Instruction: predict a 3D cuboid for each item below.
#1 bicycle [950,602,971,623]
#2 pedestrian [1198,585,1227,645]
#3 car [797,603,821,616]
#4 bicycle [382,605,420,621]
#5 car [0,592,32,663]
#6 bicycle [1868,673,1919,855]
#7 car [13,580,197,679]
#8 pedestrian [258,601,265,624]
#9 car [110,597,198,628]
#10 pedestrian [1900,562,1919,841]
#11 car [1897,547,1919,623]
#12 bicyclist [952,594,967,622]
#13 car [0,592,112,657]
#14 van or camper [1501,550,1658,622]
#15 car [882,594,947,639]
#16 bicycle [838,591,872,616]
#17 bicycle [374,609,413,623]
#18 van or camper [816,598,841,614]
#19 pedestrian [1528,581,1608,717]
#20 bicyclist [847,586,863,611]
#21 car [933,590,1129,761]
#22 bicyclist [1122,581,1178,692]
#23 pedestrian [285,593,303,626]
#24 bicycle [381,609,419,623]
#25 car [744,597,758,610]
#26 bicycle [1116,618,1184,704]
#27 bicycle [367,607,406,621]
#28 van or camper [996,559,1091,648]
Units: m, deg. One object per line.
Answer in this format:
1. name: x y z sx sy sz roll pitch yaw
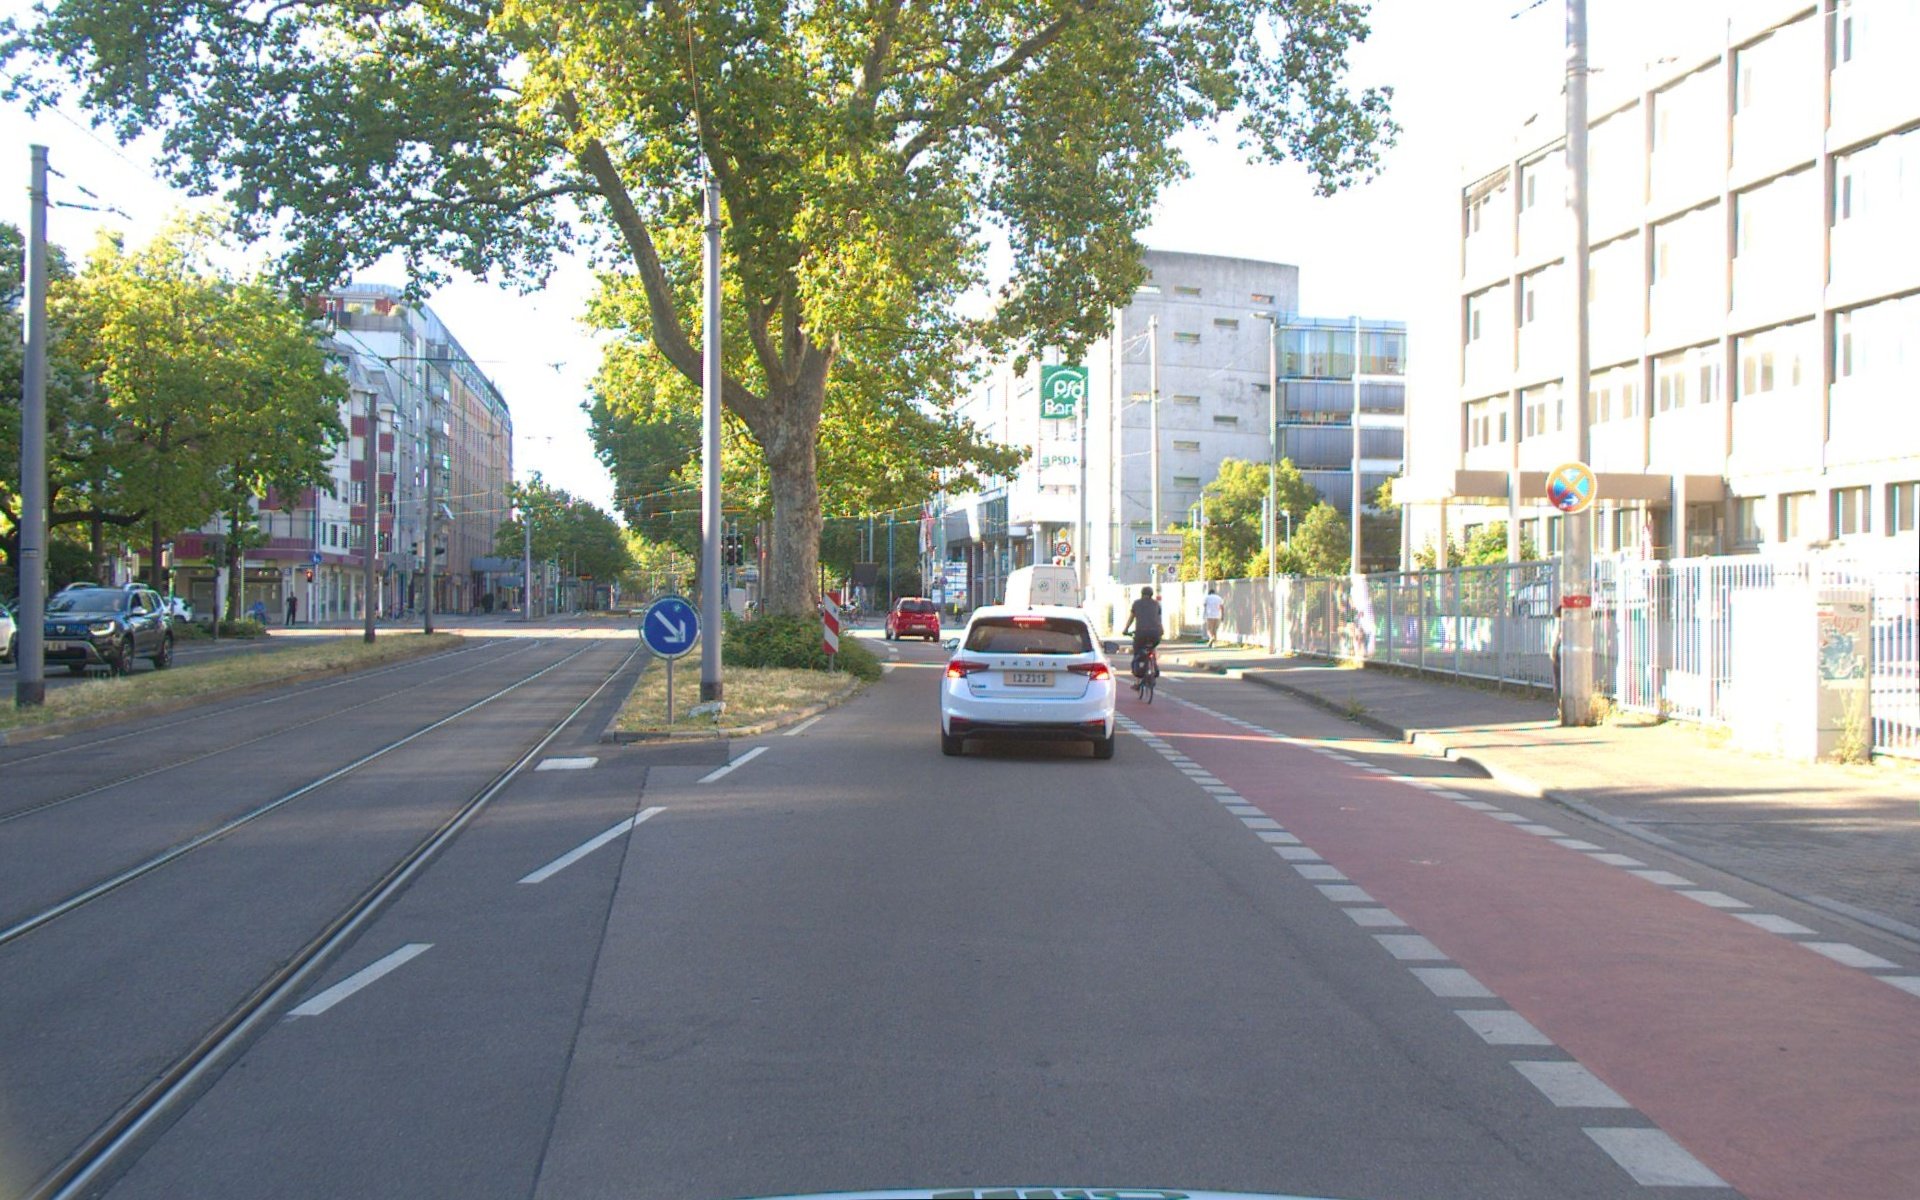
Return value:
1. bicycle: 0.015 0.720 97.084 0.778 1.182 2.493 0 0 -11
2. pedestrian: 7.597 0.442 49.719 0.770 1.779 0.772 0 0 2
3. car: -17.966 1.120 196.204 2.434 1.555 4.419 -1 0 -11
4. bicycle: -34.291 0.783 101.434 2.132 0.967 0.490 0 0 -13
5. car: -21.199 0.590 34.486 1.958 1.496 4.393 0 0 -12
6. bicycle: 6.011 0.980 9.360 0.661 1.050 1.900 -2 0 0
7. car: -15.885 0.508 30.976 1.958 1.719 4.297 0 0 -12
8. pedestrian: -37.297 0.664 88.302 0.298 1.235 0.317 -1 0 -15
9. car: -41.738 0.632 85.691 3.930 1.489 1.790 -1 0 -22
10. pedestrian: 5.994 0.591 9.355 0.656 1.647 1.102 -2 0 -1
11. car: 24.240 -0.353 38.285 4.175 1.748 1.988 0 0 -11
12. bicyclist: -0.010 0.461 97.200 0.771 1.663 0.637 0 0 -12
13. car: -22.375 0.559 40.197 1.958 1.502 4.636 0 0 -12
14. van or camper: 17.694 -0.406 47.495 1.945 1.942 4.987 0 0 -10
15. car: -1.641 0.564 58.103 1.805 1.515 3.708 0 0 -9
16. bicycle: -5.895 0.210 92.908 1.978 1.403 0.637 0 0 -43
17. bicycle: -34.049 0.968 99.423 2.132 0.801 0.490 0 0 -13
18. van or camper: -14.562 0.655 182.776 2.108 1.781 4.418 -1 0 -12
19. pedestrian: 7.811 0.615 21.274 0.681 1.713 0.930 0 0 -1
20. bicyclist: -5.899 -0.104 92.905 0.602 1.413 0.627 0 0 -41
21. car: 0.766 0.693 17.152 1.764 1.527 3.983 1 0 3
22. bicyclist: 2.972 0.561 25.943 0.728 1.698 0.744 2 0 -2
23. pedestrian: -35.117 0.488 87.194 0.696 1.691 1.030 -1 0 -14
24. bicycle: -34.142 0.947 100.807 2.132 0.838 0.526 0 0 -13
25. car: -27.350 0.454 216.706 1.628 1.635 3.522 -1 0 -10
26. bicycle: 2.956 0.931 25.962 0.729 1.245 2.155 2 0 -1
27. bicycle: -34.177 0.853 98.655 2.132 0.801 0.639 0 0 -13
28. van or camper: 2.775 0.122 56.507 2.225 2.781 6.339 3 0 -6
